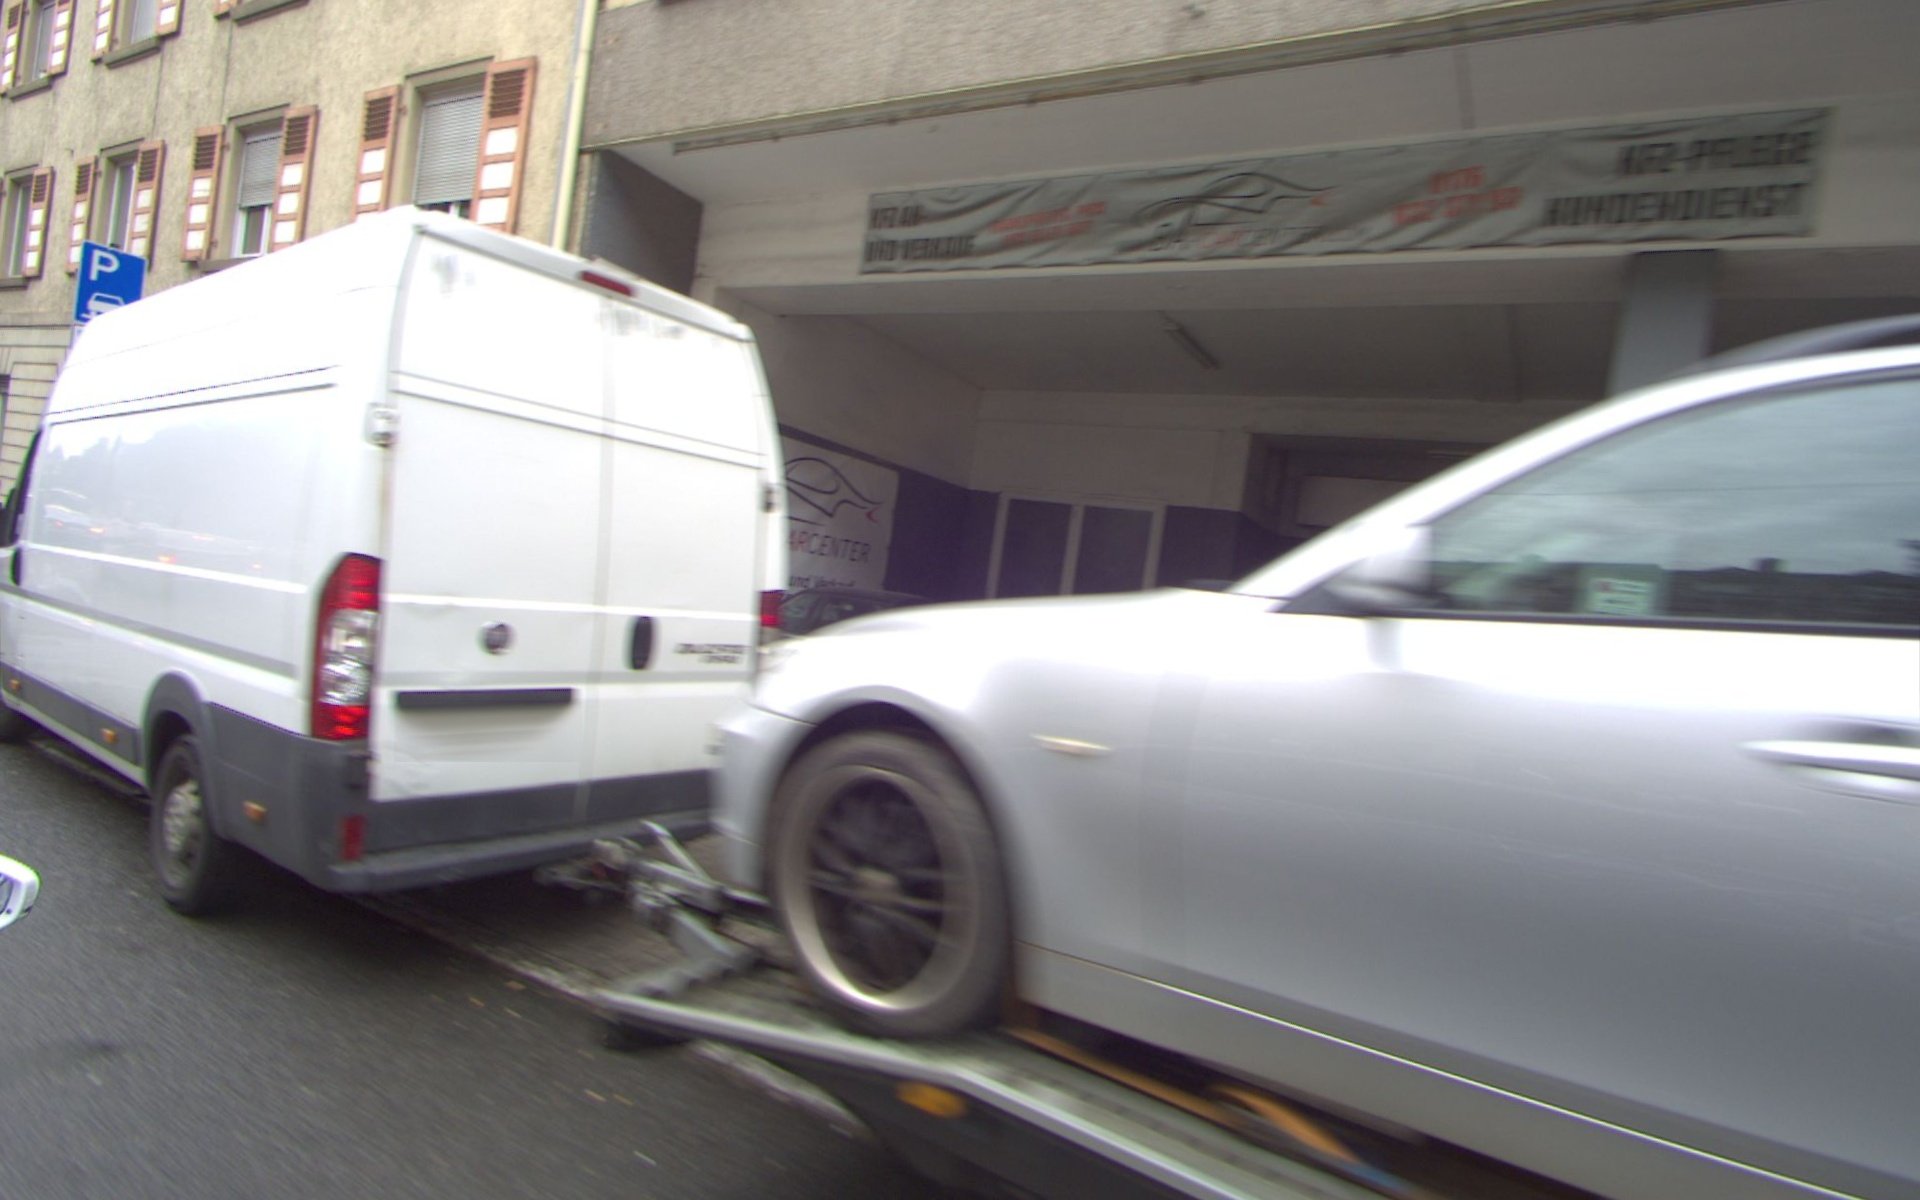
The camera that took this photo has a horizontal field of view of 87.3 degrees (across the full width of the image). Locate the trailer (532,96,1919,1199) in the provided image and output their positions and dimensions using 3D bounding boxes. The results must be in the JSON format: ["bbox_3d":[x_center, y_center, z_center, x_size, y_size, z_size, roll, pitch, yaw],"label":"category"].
[{"bbox_3d":[1.710,0.628,1.791,4.989,2.180,1.994,8,2,34],"label":"trailer"}]

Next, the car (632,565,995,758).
[{"bbox_3d":[-1.301,0.577,10.425,1.864,1.409,3.658,8,1,26],"label":"car"}]

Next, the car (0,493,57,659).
[{"bbox_3d":[-10.805,-0.443,9.656,4.117,1.497,1.782,6,-1,28],"label":"car"}]

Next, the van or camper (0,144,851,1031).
[{"bbox_3d":[-3.842,-0.233,5.840,6.320,2.733,2.184,7,0,36],"label":"van or camper"}]
